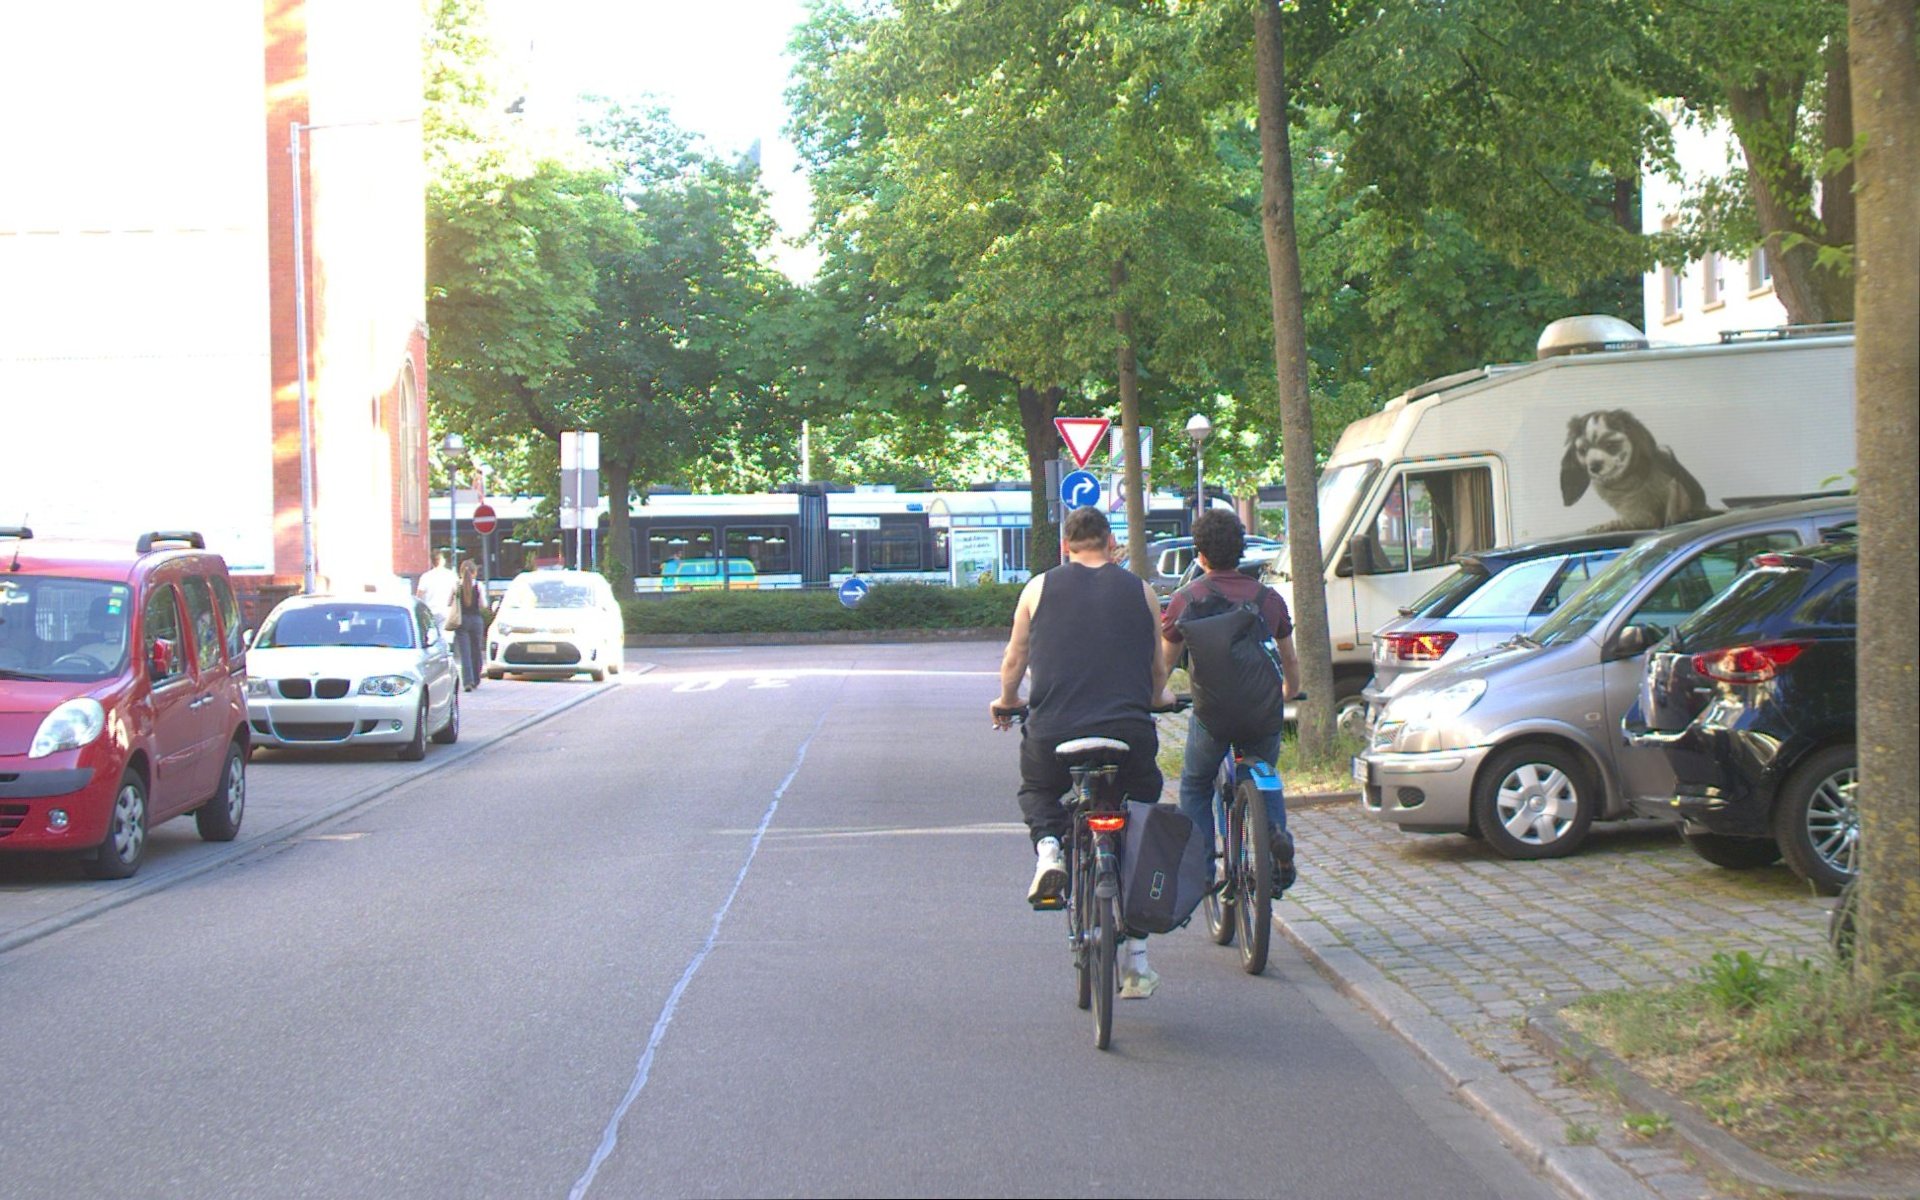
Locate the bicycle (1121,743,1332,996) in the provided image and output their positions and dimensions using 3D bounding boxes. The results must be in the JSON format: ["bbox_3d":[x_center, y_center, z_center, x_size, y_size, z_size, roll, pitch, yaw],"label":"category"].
[{"bbox_3d":[1.019,1.024,13.489,0.633,0.796,1.832,-2,1,-1],"label":"bicycle"}]

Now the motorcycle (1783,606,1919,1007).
[{"bbox_3d":[3.282,0.583,9.921,1.605,1.137,0.671,-1,1,33],"label":"motorcycle"}]

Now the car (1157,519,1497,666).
[{"bbox_3d":[4.550,-0.090,43.011,3.986,1.797,1.834,0,0,-3],"label":"car"}]

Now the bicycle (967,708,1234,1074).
[{"bbox_3d":[0.430,0.918,11.448,0.737,1.050,1.956,1,0,-2],"label":"bicycle"}]

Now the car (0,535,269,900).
[{"bbox_3d":[-5.206,0.556,19.564,1.688,1.819,4.273,1,1,0],"label":"car"}]

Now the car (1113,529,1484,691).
[{"bbox_3d":[3.821,0.111,39.253,3.986,1.797,1.834,0,0,-3],"label":"car"}]

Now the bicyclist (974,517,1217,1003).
[{"bbox_3d":[0.434,0.511,11.409,0.729,1.542,0.884,1,0,-2],"label":"bicyclist"}]

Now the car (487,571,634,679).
[{"bbox_3d":[-5.559,0.320,48.218,1.583,1.371,4.131,1,1,0],"label":"car"}]

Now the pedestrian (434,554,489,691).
[{"bbox_3d":[-6.149,0.276,42.434,0.609,1.673,0.518,0,0,0],"label":"pedestrian"}]

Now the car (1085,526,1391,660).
[{"bbox_3d":[3.776,-0.095,47.140,3.986,1.797,1.834,0,0,-3],"label":"car"}]

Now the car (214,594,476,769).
[{"bbox_3d":[-5.362,0.666,30.415,1.583,1.339,4.131,1,1,0],"label":"car"}]

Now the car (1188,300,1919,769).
[{"bbox_3d":[5.429,-0.533,24.944,7.146,2.968,2.465,-3,0,-3],"label":"car"}]

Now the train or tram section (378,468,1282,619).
[{"bbox_3d":[-3.082,-1.386,90.598,23.800,3.696,4.287,0,0,-23],"label":"train or tram section"}]

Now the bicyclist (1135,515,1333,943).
[{"bbox_3d":[1.061,0.483,13.505,0.689,1.621,0.998,0,1,0],"label":"bicyclist"}]

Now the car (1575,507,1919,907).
[{"bbox_3d":[4.937,0.400,14.901,4.138,1.594,1.702,-2,-1,-3],"label":"car"}]

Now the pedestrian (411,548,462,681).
[{"bbox_3d":[-6.927,0.189,45.520,0.609,1.756,0.432,0,0,0],"label":"pedestrian"}]

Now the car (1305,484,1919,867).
[{"bbox_3d":[3.953,0.306,17.457,4.082,1.644,1.641,-4,0,-2],"label":"car"}]
